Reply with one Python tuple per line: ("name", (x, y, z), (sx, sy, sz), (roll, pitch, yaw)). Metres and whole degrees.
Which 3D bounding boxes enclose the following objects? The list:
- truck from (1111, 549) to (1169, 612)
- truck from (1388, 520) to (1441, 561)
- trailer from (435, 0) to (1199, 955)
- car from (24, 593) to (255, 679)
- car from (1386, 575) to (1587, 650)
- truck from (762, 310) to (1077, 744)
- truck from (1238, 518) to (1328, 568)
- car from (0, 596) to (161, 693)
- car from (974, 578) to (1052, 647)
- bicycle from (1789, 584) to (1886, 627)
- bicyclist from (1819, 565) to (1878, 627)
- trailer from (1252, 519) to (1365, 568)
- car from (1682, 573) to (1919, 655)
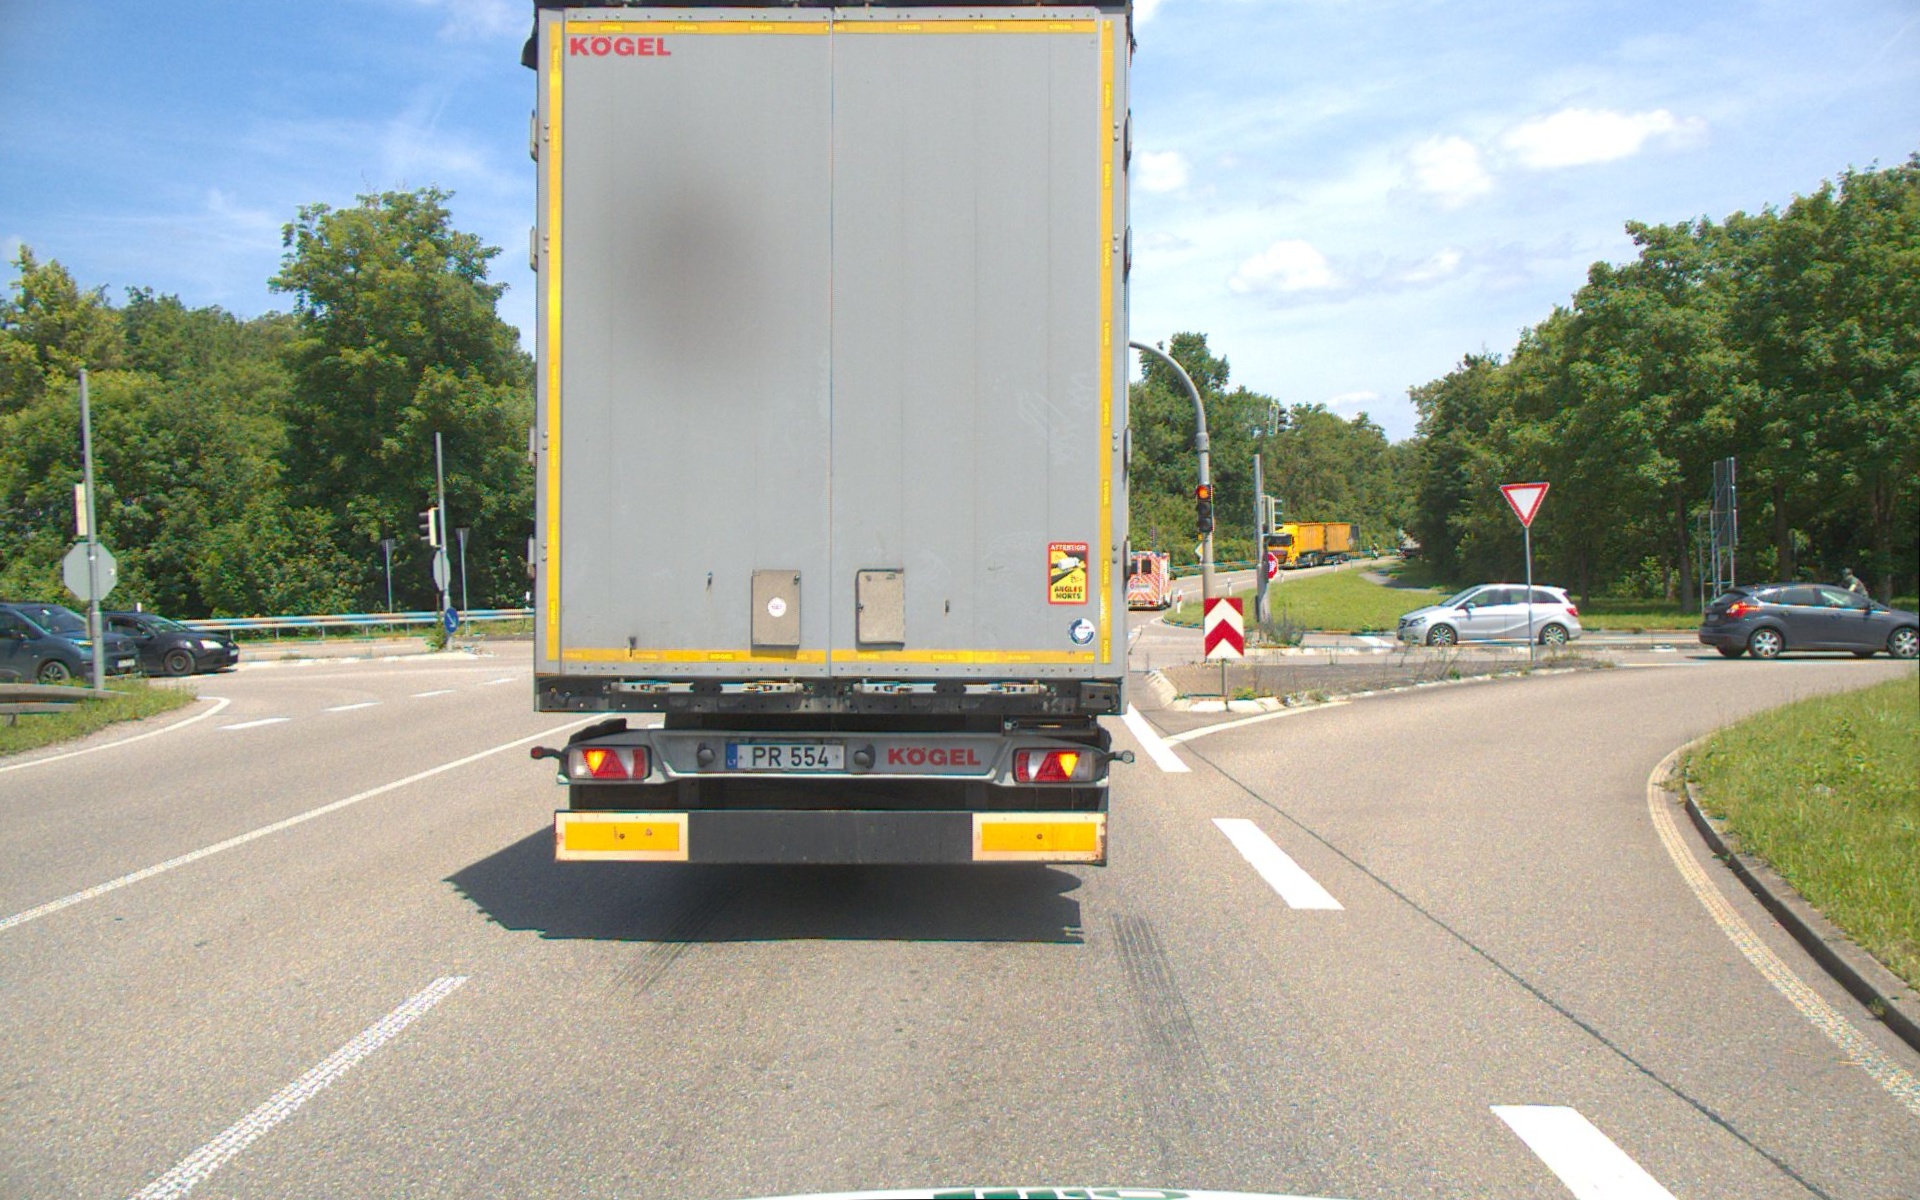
("truck", (8.687, -0.894, 79.416), (2.440, 2.776, 6.035), (0, -2, 9))
("truck", (48.836, -6.328, 177.447), (3.117, 4.099, 11.733), (-1, 1, 27))
("trailer", (-0.445, -0.688, 12.785), (2.988, 4.104, 12.560), (0, 0, 1))
("car", (-17.968, 0.790, 36.320), (4.143, 1.801, 2.002), (-1, -1, 9))
("car", (12.814, 0.320, 40.467), (4.334, 1.749, 2.001), (0, -2, 4))
("truck", (-0.324, -0.706, 19.042), (2.975, 4.104, 6.630), (0, 0, 1))
("truck", (30.303, -5.243, 154.598), (4.917, 4.438, 11.745), (0, 1, 29))
("car", (-18.073, 0.863, 32.186), (4.143, 1.801, 2.002), (-1, -1, 9))
("car", (1.307, 0.360, 41.912), (1.837, 1.641, 3.857), (1, -2, 0))
("bicycle", (21.333, 0.136, 40.217), (1.949, 1.013, 0.796), (1, -2, -4))
("bicyclist", (21.598, -0.086, 40.219), (0.985, 1.474, 0.795), (1, -2, -3))
("trailer", (34.423, -5.449, 162.003), (4.917, 4.438, 20.803), (0, 1, 29))
("car", (16.682, 0.294, 32.508), (4.154, 1.517, 2.001), (0, -2, 5))
